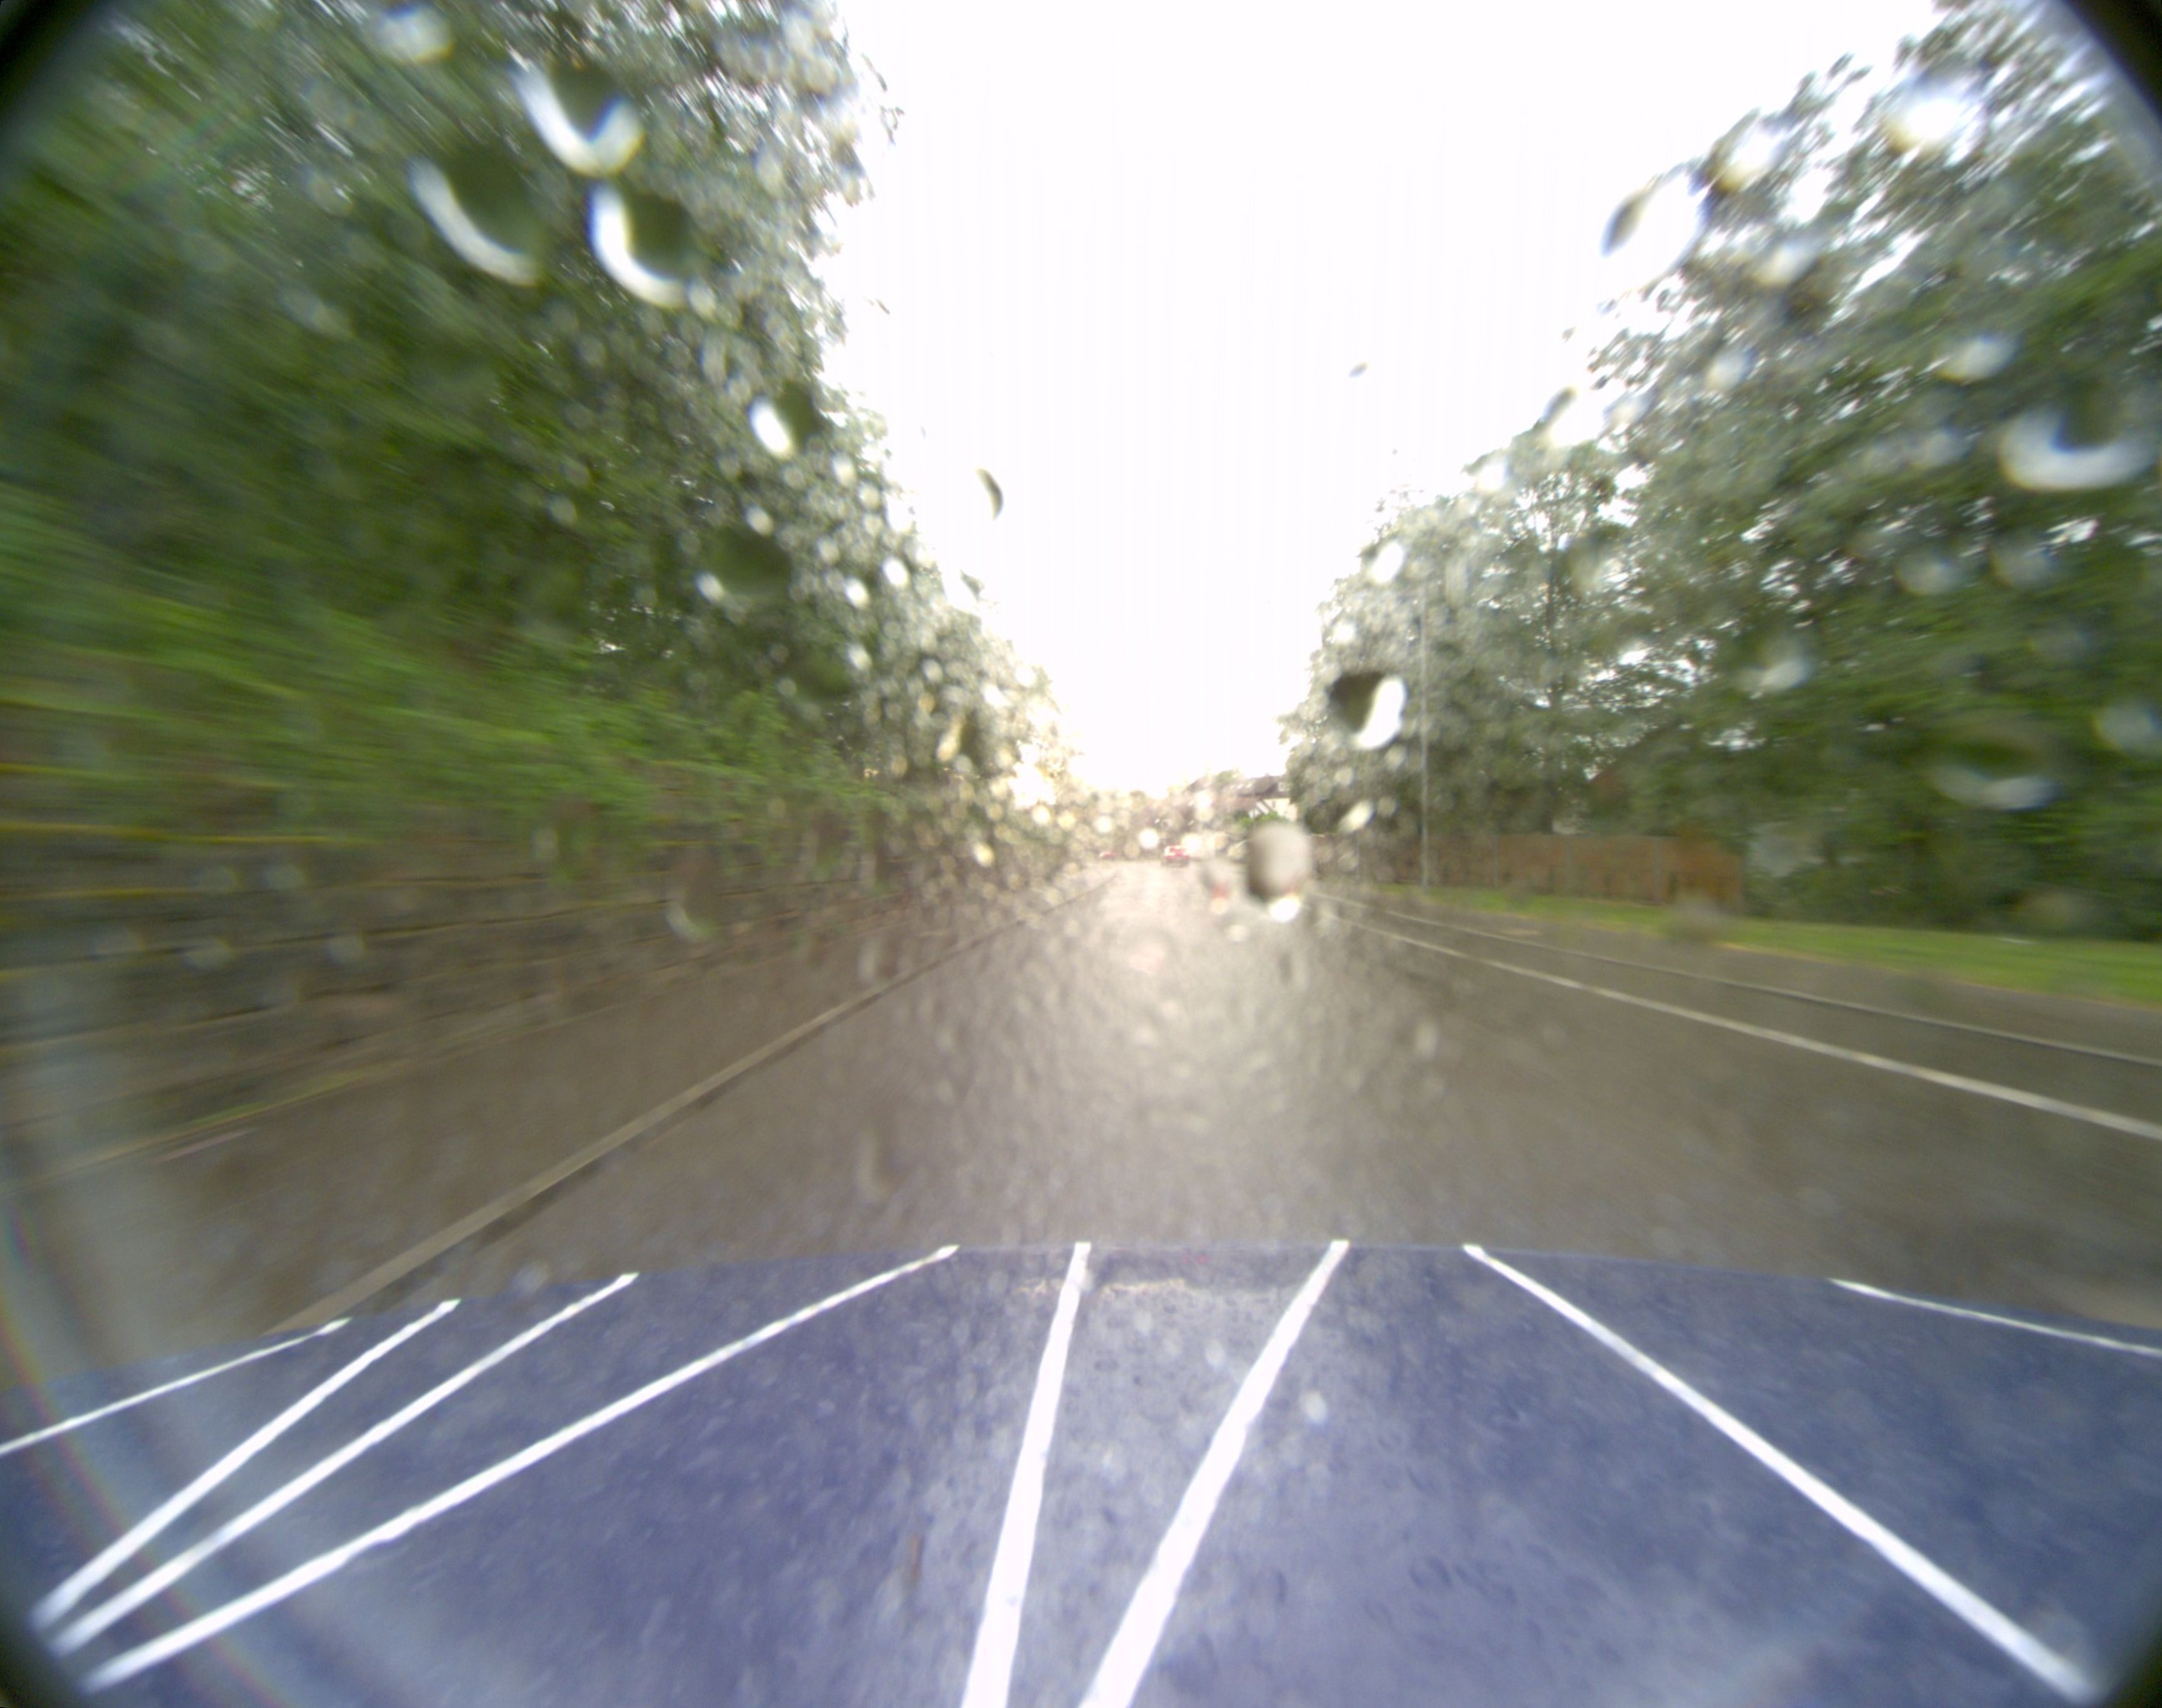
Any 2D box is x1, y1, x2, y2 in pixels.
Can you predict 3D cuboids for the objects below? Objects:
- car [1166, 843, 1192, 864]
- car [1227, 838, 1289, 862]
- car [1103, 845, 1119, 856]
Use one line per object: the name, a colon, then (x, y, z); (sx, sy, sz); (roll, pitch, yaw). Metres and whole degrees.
car: (8.255, -0.055, 64.263); (1.922, 1.638, 4.547); (-1, 1, 4)
car: (14.269, -0.322, 61.425); (4.513, 1.849, 2.090); (-2, 1, 3)
car: (4.237, -0.535, 107.856); (1.839, 1.503, 4.167); (-2, 1, -2)
